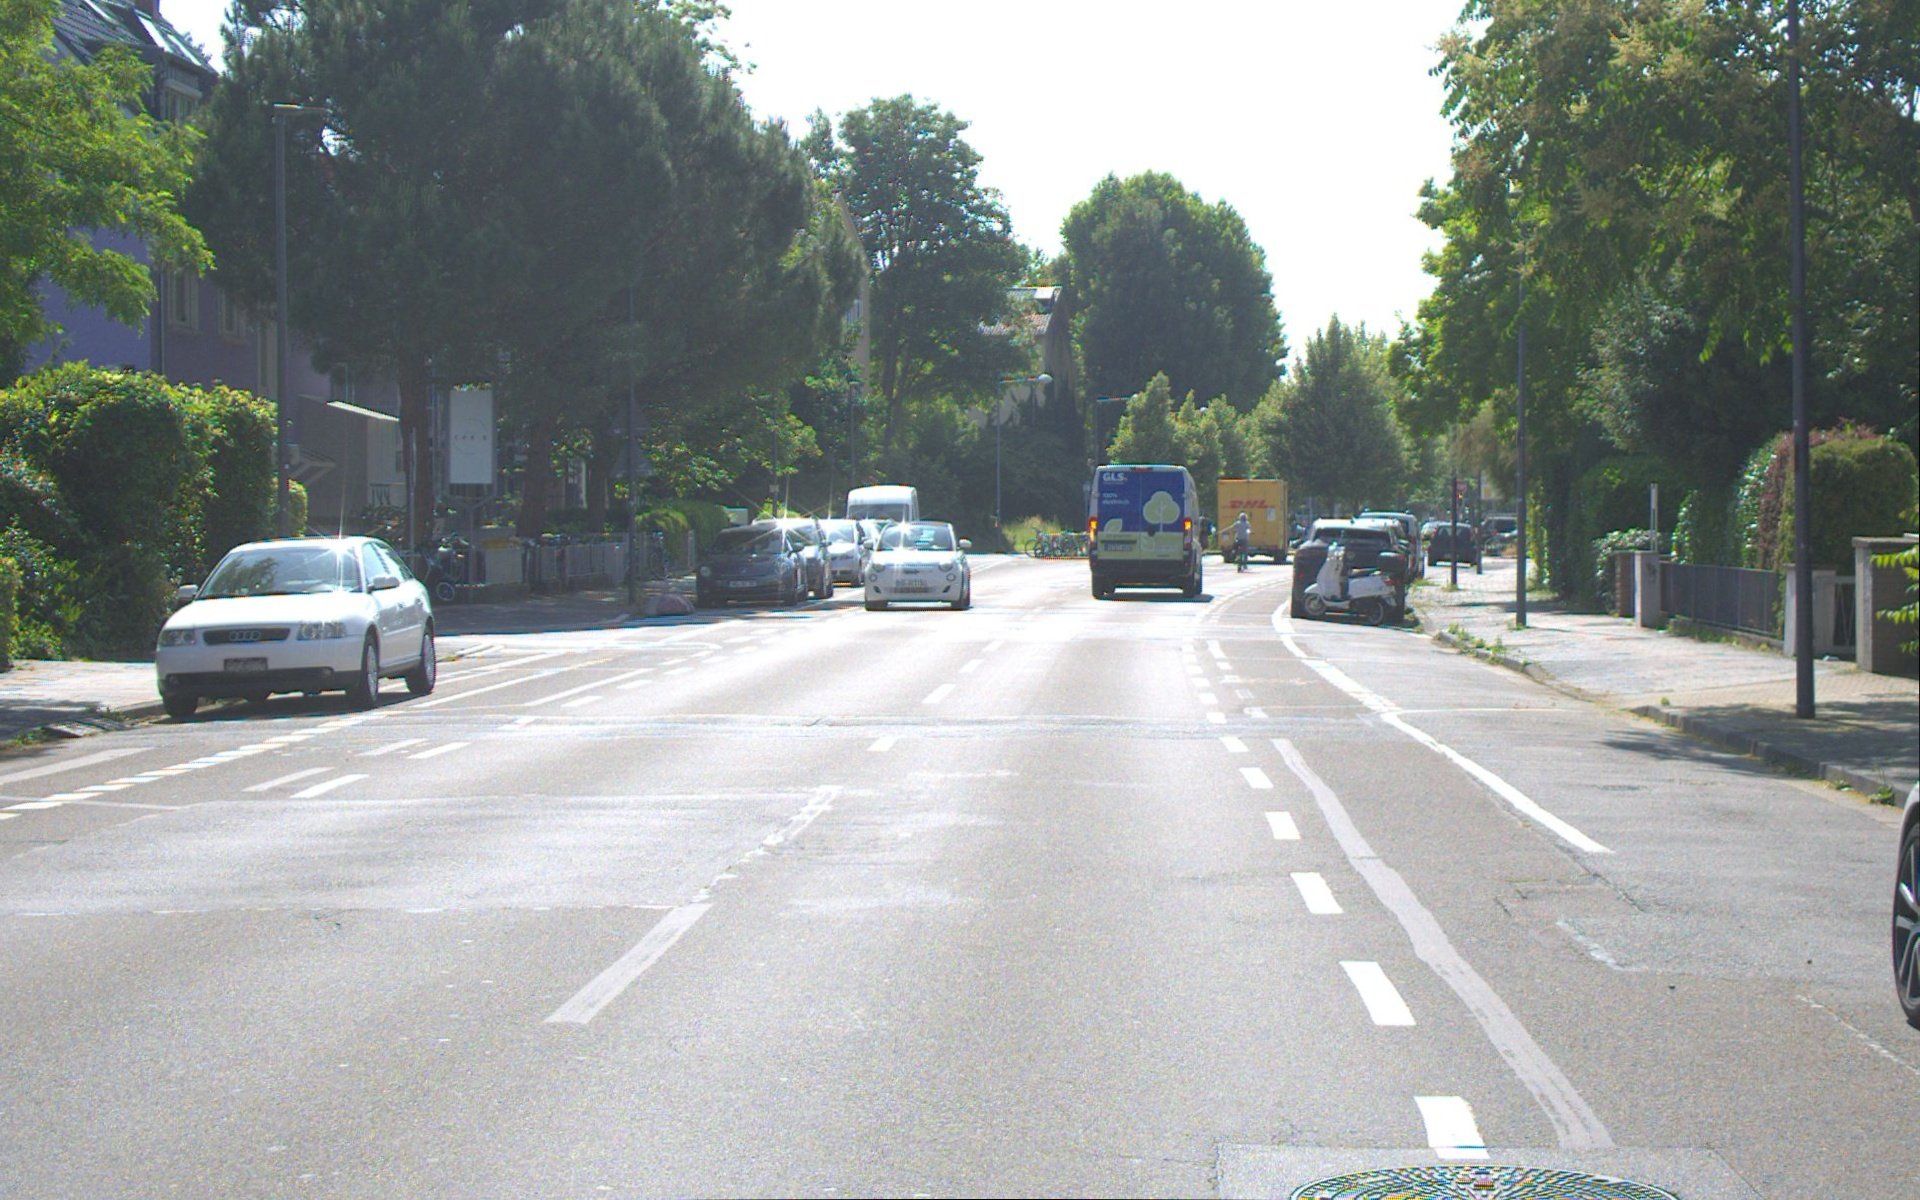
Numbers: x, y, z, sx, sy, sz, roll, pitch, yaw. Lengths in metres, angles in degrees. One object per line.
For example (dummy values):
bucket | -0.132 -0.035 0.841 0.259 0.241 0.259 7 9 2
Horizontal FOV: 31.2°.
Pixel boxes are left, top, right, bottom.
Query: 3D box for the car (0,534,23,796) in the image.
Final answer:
car | -6.260 0.397 17.319 1.785 1.435 4.000 0 2 3

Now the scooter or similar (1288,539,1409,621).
scooter or similar | 6.083 -0.315 53.922 0.718 1.150 1.796 3 2 -42

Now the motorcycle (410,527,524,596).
motorcycle | -8.489 -0.672 59.213 1.840 1.178 0.643 0 1 8

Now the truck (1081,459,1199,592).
truck | 3.593 -1.487 68.662 2.272 2.562 4.392 0 1 3

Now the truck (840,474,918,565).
truck | -2.300 -2.321 98.527 2.080 2.528 5.467 0 2 0

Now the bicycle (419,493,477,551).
bicycle | -10.483 -1.587 70.452 0.537 1.178 1.445 0 1 20

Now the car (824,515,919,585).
car | -2.051 -1.172 80.337 1.835 1.590 3.774 0 1 4

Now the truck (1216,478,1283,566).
truck | 9.927 -2.680 118.180 2.214 2.936 5.685 0 1 4

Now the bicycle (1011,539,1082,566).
bicycle | 3.408 -1.879 135.195 2.687 1.044 1.026 0 1 -5

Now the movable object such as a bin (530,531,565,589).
movable object such as a bin | -7.945 -0.774 66.230 0.544 1.107 0.584 0 1 9

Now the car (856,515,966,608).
car | -0.829 -0.684 60.015 1.732 1.535 4.000 -1 1 2

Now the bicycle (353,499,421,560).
bicycle | -11.588 -1.439 69.596 0.538 1.177 1.444 2 4 31

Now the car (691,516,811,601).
car | -3.832 -0.790 63.591 1.781 1.455 4.086 -2 1 2

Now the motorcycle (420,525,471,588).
motorcycle | -9.677 -0.828 64.703 0.537 1.178 1.446 0 1 9

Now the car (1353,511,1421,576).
car | 11.240 -1.513 90.630 1.701 1.671 3.774 0 1 6

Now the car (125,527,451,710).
car | -5.637 0.105 29.325 1.785 1.435 4.000 0 1 3

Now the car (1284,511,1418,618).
car | 6.496 -0.614 56.782 1.786 1.632 4.468 2 2 11

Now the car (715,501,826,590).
car | -3.800 -1.131 69.543 1.908 1.671 4.259 -2 2 1

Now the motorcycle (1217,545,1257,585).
motorcycle | 7.904 -1.010 98.308 1.056 1.118 2.992 0 1 3

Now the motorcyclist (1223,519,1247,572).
motorcyclist | 7.873 -1.569 98.328 0.672 1.513 0.652 0 1 6

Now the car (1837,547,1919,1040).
car | 3.623 0.637 8.855 1.740 1.397 4.074 3 2 2

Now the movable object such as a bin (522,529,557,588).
movable object such as a bin | -8.033 -0.796 65.624 0.544 1.107 0.518 0 1 9
